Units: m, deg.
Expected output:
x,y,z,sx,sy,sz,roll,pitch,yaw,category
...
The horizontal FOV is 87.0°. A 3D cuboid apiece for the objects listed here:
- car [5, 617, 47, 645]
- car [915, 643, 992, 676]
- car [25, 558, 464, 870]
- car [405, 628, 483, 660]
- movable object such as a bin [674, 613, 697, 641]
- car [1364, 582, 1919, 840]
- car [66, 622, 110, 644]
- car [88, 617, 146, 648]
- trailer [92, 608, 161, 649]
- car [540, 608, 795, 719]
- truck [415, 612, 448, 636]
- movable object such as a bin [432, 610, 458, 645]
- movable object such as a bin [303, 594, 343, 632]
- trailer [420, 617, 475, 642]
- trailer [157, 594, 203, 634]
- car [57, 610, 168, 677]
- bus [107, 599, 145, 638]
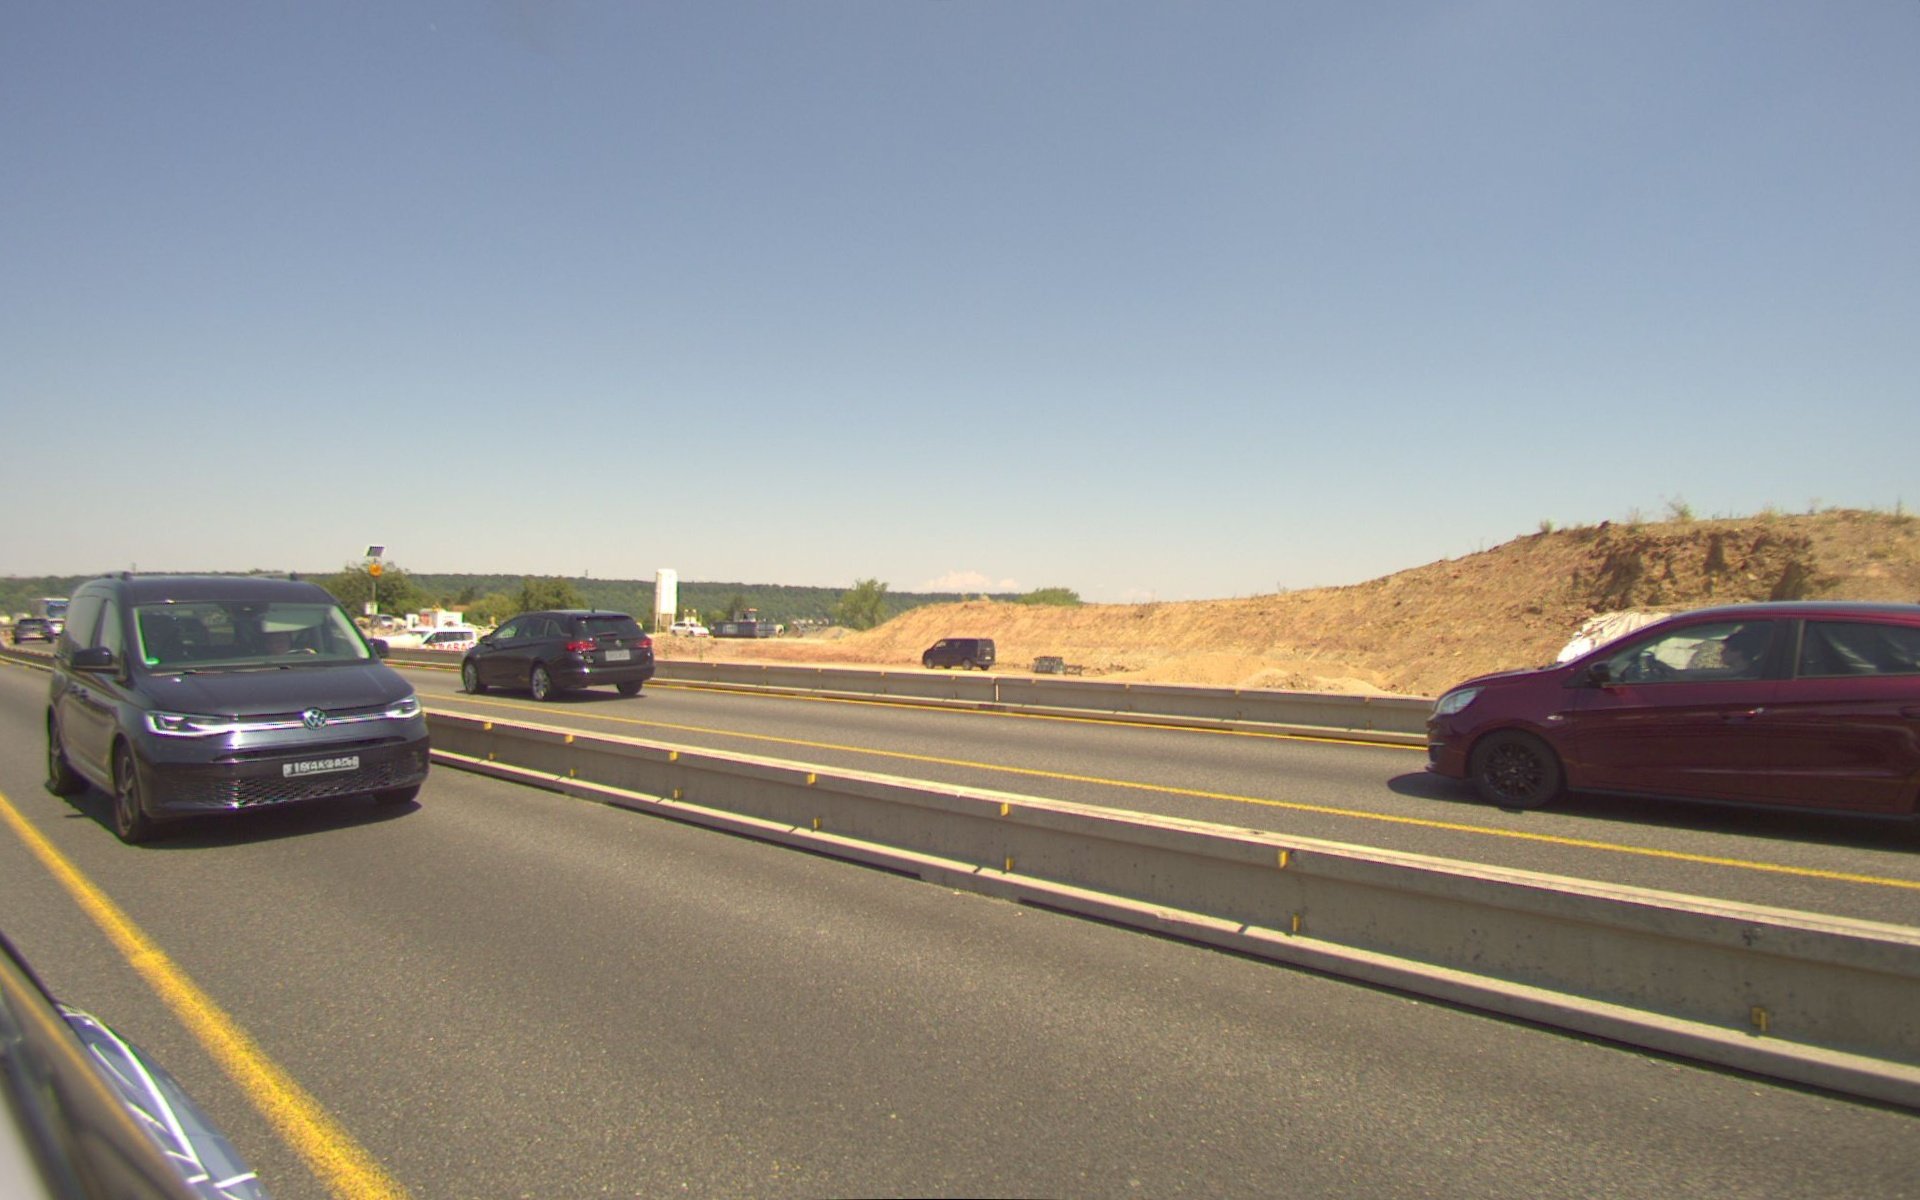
x,y,z,sx,sy,sz,roll,pitch,yaw,category
-54.978,1.815,59.603,1.673,1.591,4.139,1,-2,-41,car
-0.430,3.709,63.627,4.551,1.939,1.977,-1,-2,34,car
-5.914,0.686,8.111,4.602,1.803,1.900,-1,0,42,car
-24.914,2.117,48.952,1.537,1.466,3.177,-1,-1,23,car
-32.072,3.151,118.099,1.965,3.165,4.500,0,-1,-24,movable object such as a bin
5.233,0.653,7.003,4.225,1.453,1.634,-1,-2,42,car
-58.731,2.230,68.156,4.648,1.434,1.801,-1,-2,43,car
-47.432,1.801,56.918,4.716,1.692,1.902,-1,-1,42,car
-42.667,1.485,51.763,5.236,1.997,2.106,-2,-3,44,trailer
-4.621,0.898,15.634,4.391,1.490,1.707,-1,-2,41,car
-68.175,3.108,130.524,4.262,3.066,2.317,-1,-2,40,truck
-48.121,2.538,94.584,1.965,3.165,4.291,0,-1,-24,movable object such as a bin
-75.802,1.574,120.591,2.882,4.362,9.356,0,-1,-26,movable object such as a bin
-64.547,3.670,127.624,2.881,3.019,5.507,-1,-2,40,trailer
-85.461,1.621,111.056,2.722,4.145,14.016,1,-1,-33,trailer
-24.442,1.204,29.112,5.037,1.755,1.753,-1,-2,42,car
-70.679,1.579,85.755,2.320,3.149,7.239,1,-2,-41,bus
